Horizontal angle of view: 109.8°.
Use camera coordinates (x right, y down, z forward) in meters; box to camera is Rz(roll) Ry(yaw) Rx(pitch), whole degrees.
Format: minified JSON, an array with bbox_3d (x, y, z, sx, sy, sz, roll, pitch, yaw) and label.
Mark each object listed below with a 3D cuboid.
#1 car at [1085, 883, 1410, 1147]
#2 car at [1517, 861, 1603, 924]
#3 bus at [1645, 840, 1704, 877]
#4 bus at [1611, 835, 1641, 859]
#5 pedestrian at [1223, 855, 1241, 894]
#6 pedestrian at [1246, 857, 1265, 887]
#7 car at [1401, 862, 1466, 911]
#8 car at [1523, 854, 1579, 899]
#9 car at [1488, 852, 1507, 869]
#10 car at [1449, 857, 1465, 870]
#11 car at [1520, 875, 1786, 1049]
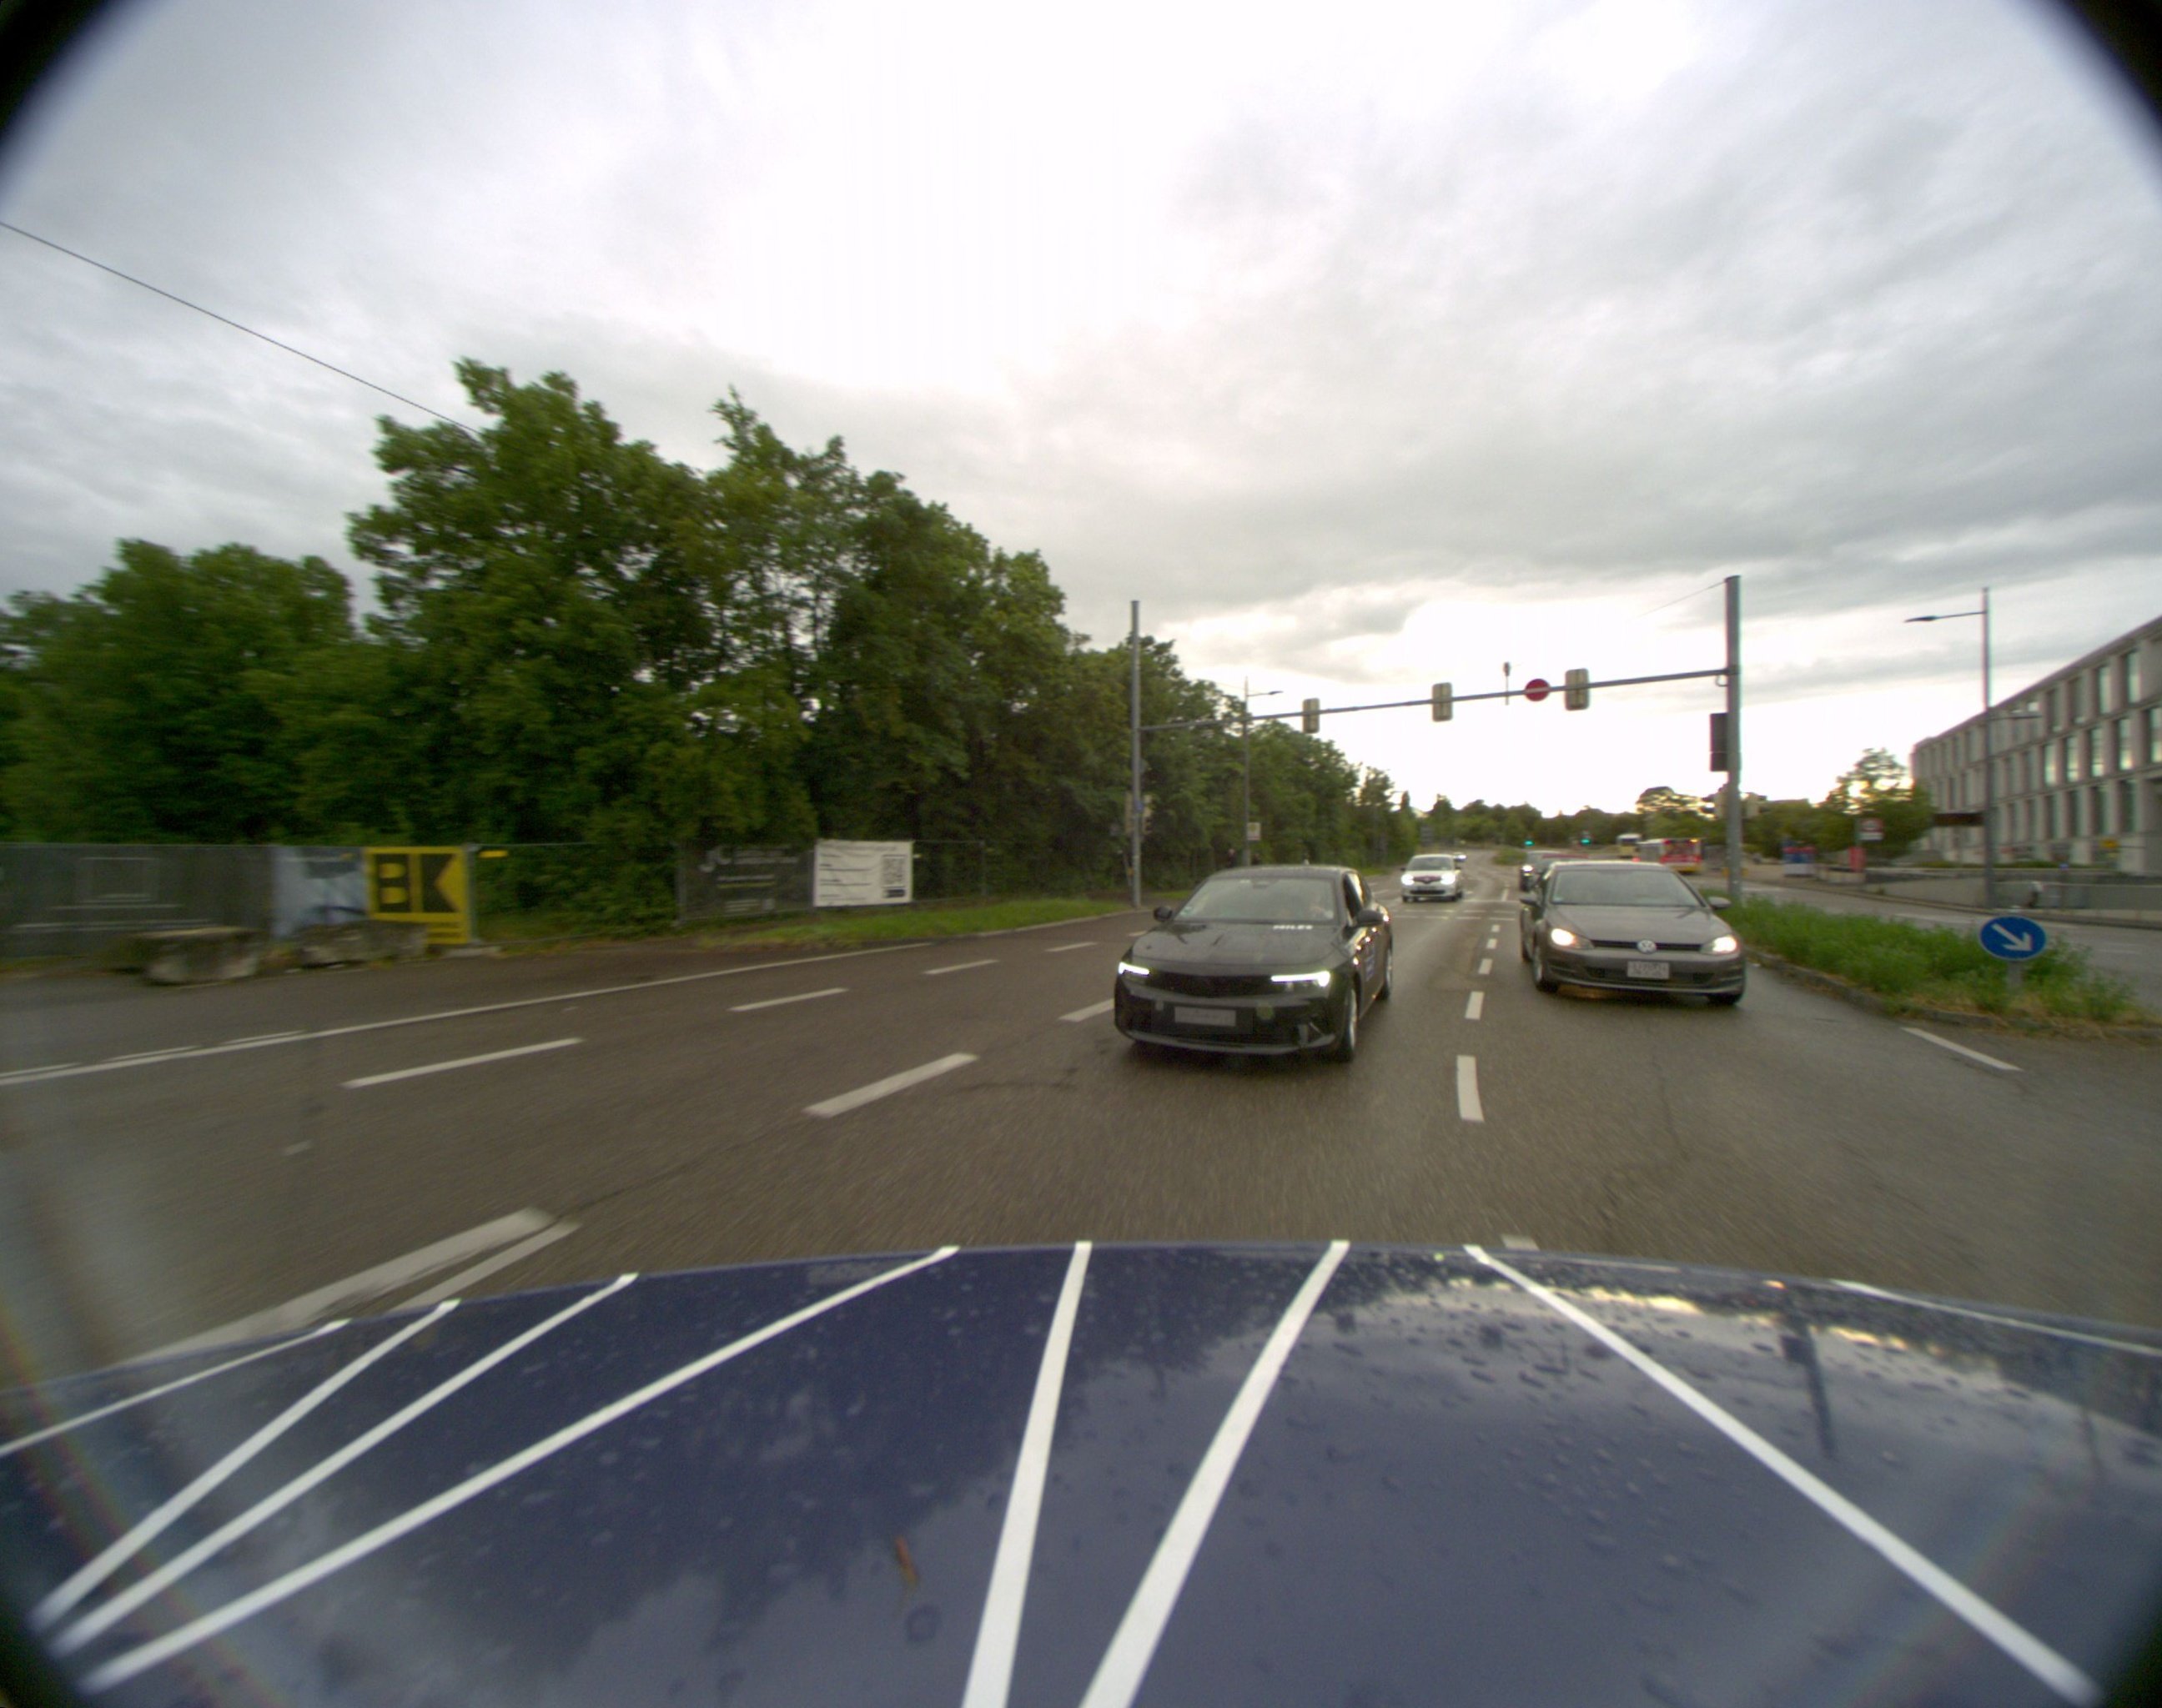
[{"bbox_3d":[1.900,1.100,7.126,1.801,1.422,4.528,-1,0,28],"label":"car"},{"bbox_3d":[12.944,0.970,20.707,1.667,1.521,3.664,0,0,27],"label":"car"},{"bbox_3d":[51.370,0.301,66.052,2.874,2.971,10.025,0,0,31],"label":"bus"},{"bbox_3d":[82.830,-1.078,115.595,2.810,3.495,9.161,0,0,31],"label":"bus"},{"bbox_3d":[7.477,0.998,37.528,0.676,1.872,0.701,0,0,31],"label":"pedestrian"},{"bbox_3d":[9.820,1.024,42.676,0.820,1.666,0.833,0,0,31],"label":"pedestrian"},{"bbox_3d":[11.964,1.055,25.663,1.642,1.511,3.586,-1,-1,30],"label":"car"},{"bbox_3d":[19.941,0.894,32.354,1.902,1.761,4.008,0,0,30],"label":"car"},{"bbox_3d":[51.476,0.807,94.035,1.995,2.002,4.008,-1,0,28],"label":"car"},{"bbox_3d":[58.059,1.450,117.392,1.995,2.002,4.007,1,0,25],"label":"car"},{"bbox_3d":[6.391,1.026,9.007,1.901,1.431,4.008,0,0,28],"label":"car"}]
